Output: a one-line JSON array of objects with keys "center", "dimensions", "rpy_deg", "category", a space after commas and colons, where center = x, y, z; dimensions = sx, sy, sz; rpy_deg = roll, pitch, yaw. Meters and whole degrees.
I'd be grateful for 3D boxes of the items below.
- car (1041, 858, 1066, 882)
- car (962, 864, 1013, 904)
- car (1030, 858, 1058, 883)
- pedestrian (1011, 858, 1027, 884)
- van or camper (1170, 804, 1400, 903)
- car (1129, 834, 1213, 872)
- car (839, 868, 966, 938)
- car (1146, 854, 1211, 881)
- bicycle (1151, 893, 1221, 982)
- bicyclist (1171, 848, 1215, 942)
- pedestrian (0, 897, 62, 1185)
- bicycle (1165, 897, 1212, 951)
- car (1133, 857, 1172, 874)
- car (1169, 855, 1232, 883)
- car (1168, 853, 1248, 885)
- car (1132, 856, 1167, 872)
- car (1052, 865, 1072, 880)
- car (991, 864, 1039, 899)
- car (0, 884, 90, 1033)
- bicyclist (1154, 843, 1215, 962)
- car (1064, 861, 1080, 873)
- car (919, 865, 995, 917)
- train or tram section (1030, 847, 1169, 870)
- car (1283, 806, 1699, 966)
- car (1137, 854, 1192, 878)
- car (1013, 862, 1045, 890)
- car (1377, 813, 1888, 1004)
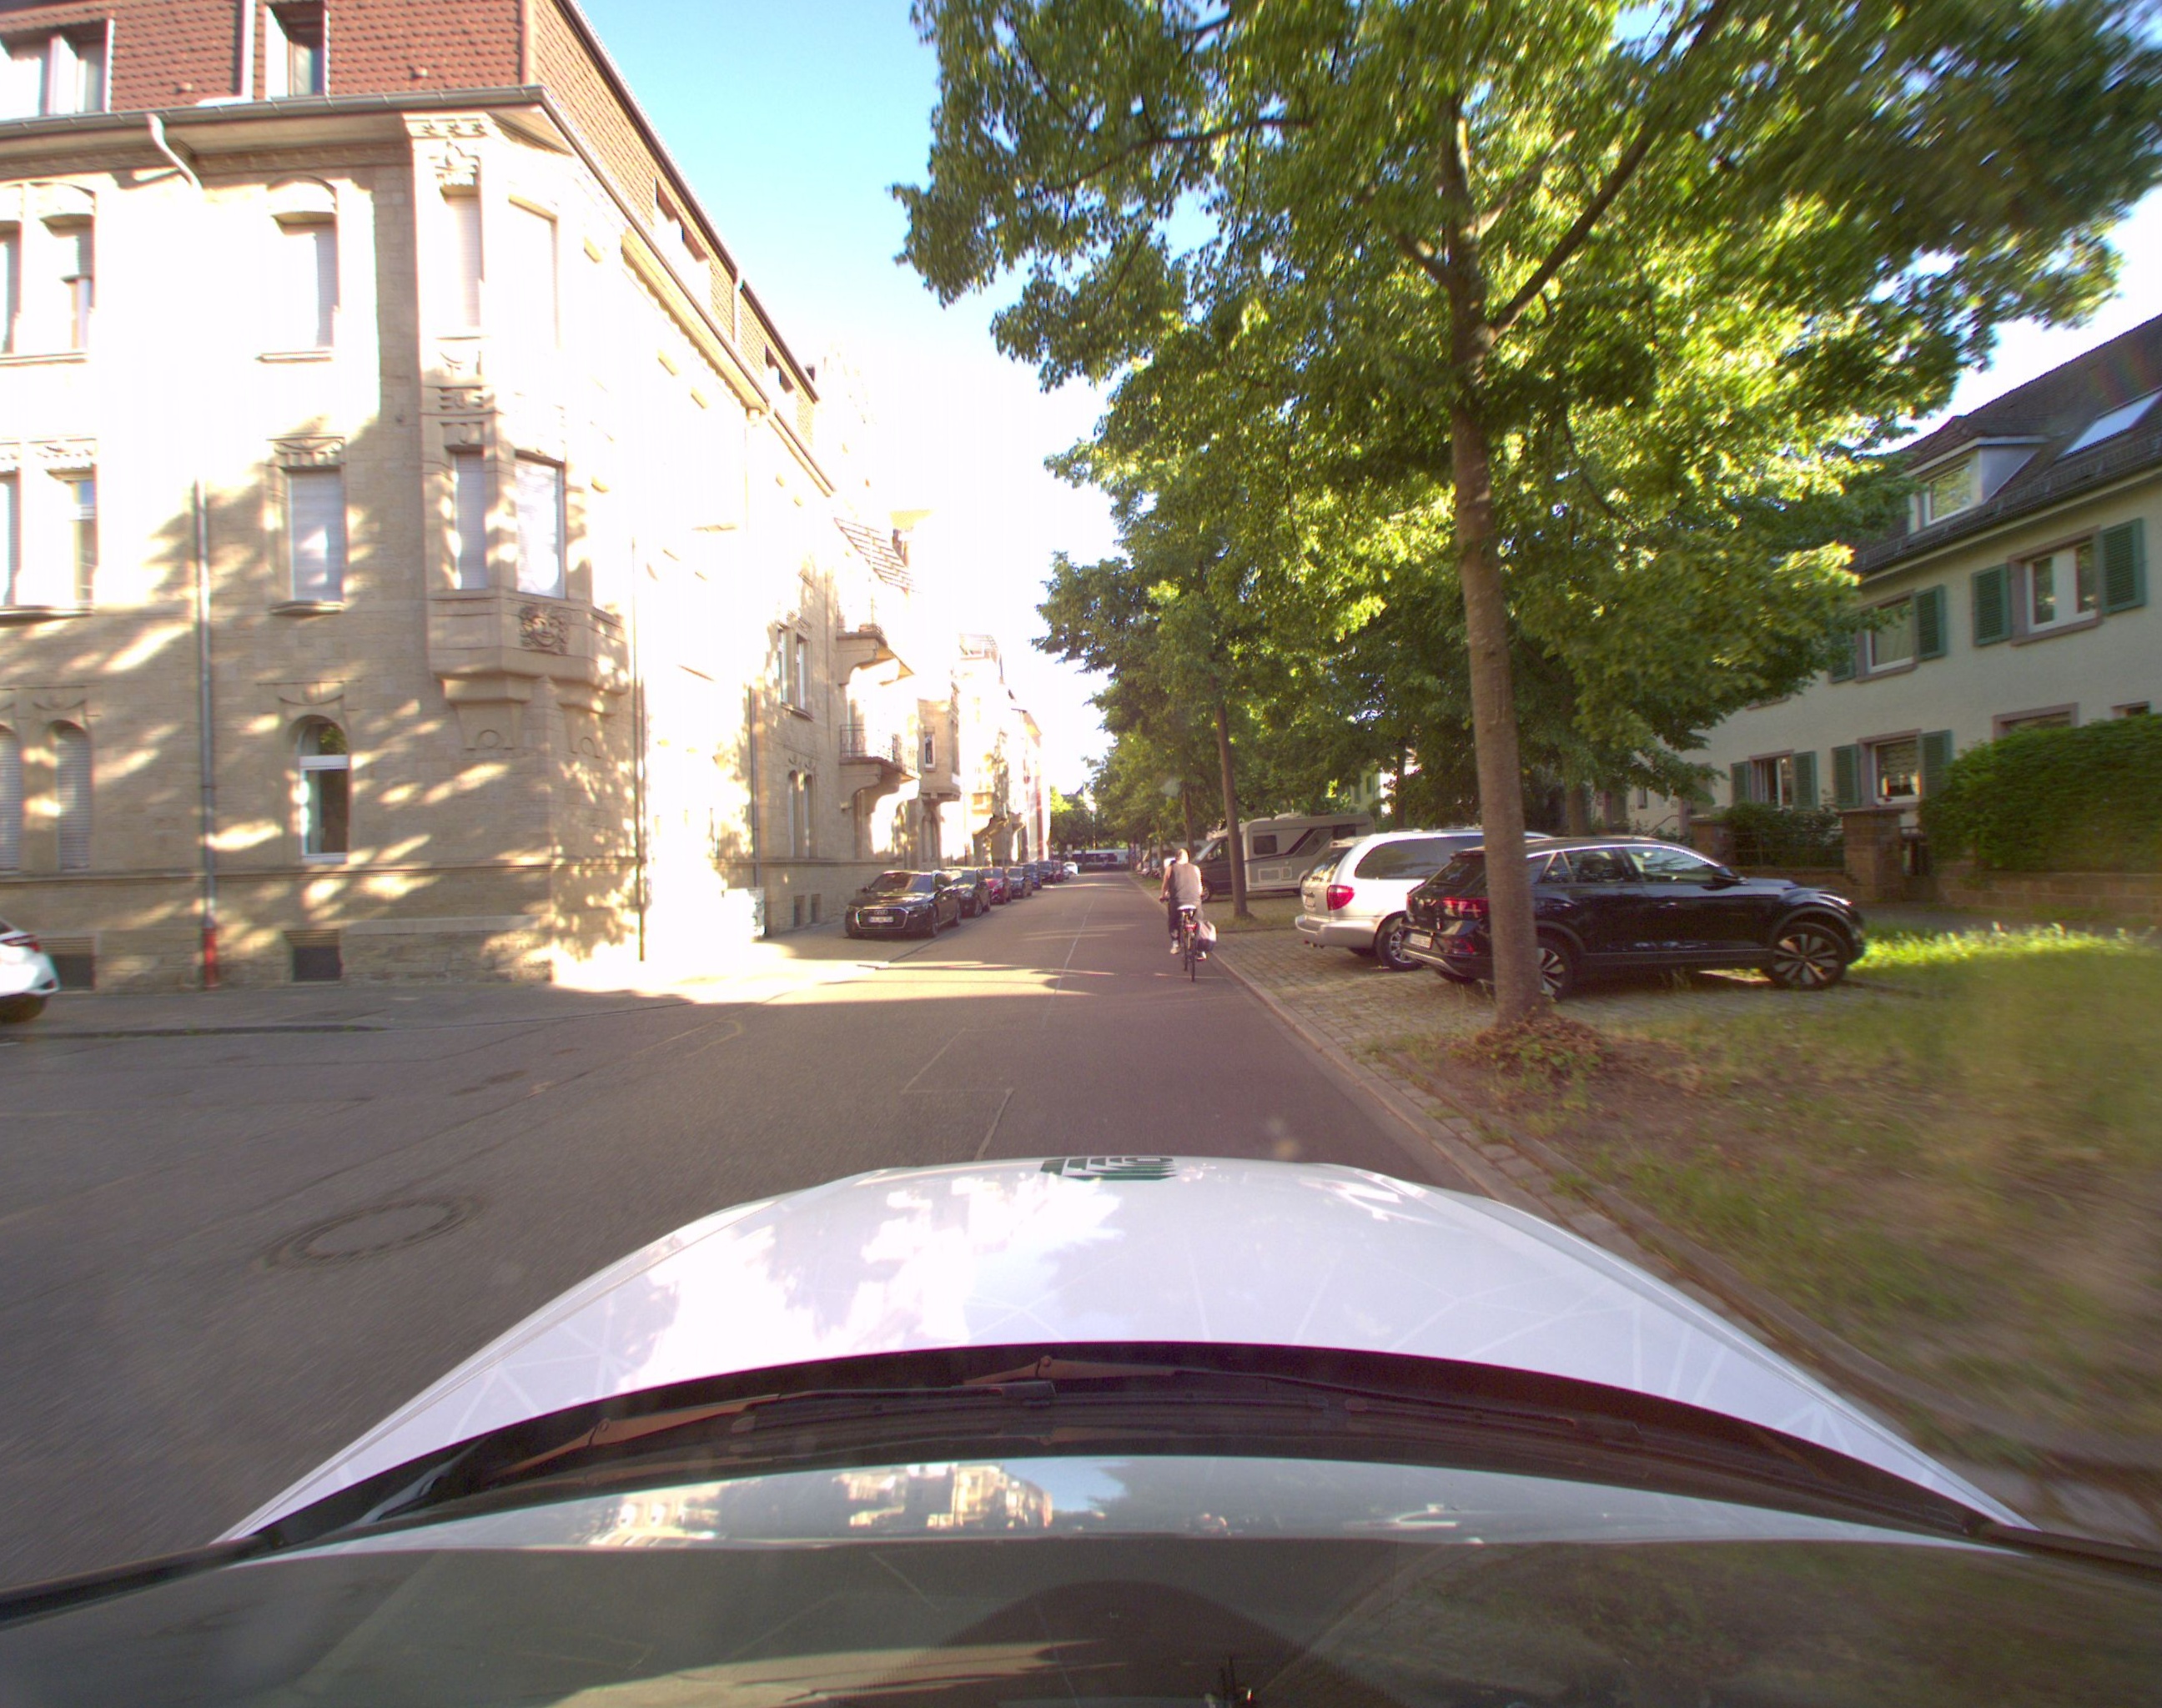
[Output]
[{"center": [-2.236, 1.292, 67.636], "dimensions": [1.682, 1.826, 4.275], "rpy_deg": [1, 0, 3], "category": "car"}, {"center": [-3.664, 1.159, 32.549], "dimensions": [1.624, 1.453, 3.836], "rpy_deg": [0, 0, 0], "category": "car"}, {"center": [-2.732, 1.186, 60.686], "dimensions": [1.634, 1.783, 4.357], "rpy_deg": [1, 0, 3], "category": "car"}, {"center": [-4.114, 1.138, 54.005], "dimensions": [0.934, 1.742, 0.735], "rpy_deg": [0, -1, 2], "category": "pedestrian"}, {"center": [6.734, 0.007, 27.732], "dimensions": [7.116, 2.647, 2.467], "rpy_deg": [-5, -1, 3], "category": "van or camper"}, {"center": [7.966, -0.078, 72.535], "dimensions": [7.126, 2.978, 2.463], "rpy_deg": [-3, -1, -1], "category": "car"}, {"center": [-4.067, 1.064, 19.446], "dimensions": [1.804, 1.427, 4.899], "rpy_deg": [1, -1, 2], "category": "car"}, {"center": [6.440, 0.898, 54.065], "dimensions": [4.121, 1.600, 1.704], "rpy_deg": [-2, -3, 3], "category": "car"}, {"center": [1.390, 1.080, 11.111], "dimensions": [0.735, 1.054, 1.956], "rpy_deg": [0, -1, 1], "category": "bicycle"}, {"center": [2.002, 0.718, 14.642], "dimensions": [0.686, 1.627, 0.999], "rpy_deg": [0, -1, 2], "category": "bicyclist"}, {"center": [-6.456, 1.061, 4.244], "dimensions": [0.884, 1.577, 1.054], "rpy_deg": [-3, 0, 2], "category": "pedestrian"}, {"center": [1.881, 1.218, 14.509], "dimensions": [0.631, 0.799, 1.833], "rpy_deg": [-2, 0, 2], "category": "bicycle"}, {"center": [7.615, 1.236, 86.966], "dimensions": [3.975, 1.804, 1.833], "rpy_deg": [0, -1, -1], "category": "car"}, {"center": [7.561, 0.948, 51.717], "dimensions": [3.757, 1.600, 1.692], "rpy_deg": [-2, -3, 3], "category": "car"}, {"center": [7.025, 0.860, 45.241], "dimensions": [4.205, 1.600, 1.692], "rpy_deg": [-2, -3, 3], "category": "car"}, {"center": [7.964, 1.198, 94.851], "dimensions": [3.975, 1.804, 1.833], "rpy_deg": [0, -1, -1], "category": "car"}, {"center": [-1.787, 1.796, 78.504], "dimensions": [1.577, 1.343, 4.134], "rpy_deg": [1, 0, 3], "category": "car"}, {"center": [-3.033, 1.240, 38.198], "dimensions": [1.669, 1.430, 4.553], "rpy_deg": [1, 0, 3], "category": "car"}, {"center": [-13.578, 1.217, 8.667], "dimensions": [3.784, 1.550, 1.718], "rpy_deg": [-2, 2, -1], "category": "car"}, {"center": [1.396, 0.646, 11.119], "dimensions": [0.727, 1.548, 0.884], "rpy_deg": [0, -2, 1], "category": "bicyclist"}, {"center": [-1.028, 1.541, 95.969], "dimensions": [1.577, 1.375, 4.134], "rpy_deg": [1, 0, 3], "category": "car"}, {"center": [-3.751, 1.090, 25.288], "dimensions": [1.690, 1.453, 4.027], "rpy_deg": [-1, -1, 0], "category": "car"}, {"center": [3.310, 0.853, 138.510], "dimensions": [23.889, 3.709, 4.256], "rpy_deg": [0, -1, -21], "category": "train or tram section"}, {"center": [5.273, 0.410, 10.992], "dimensions": [4.600, 1.709, 1.835], "rpy_deg": [-4, -1, 3], "category": "car"}, {"center": [6.656, 0.966, 65.219], "dimensions": [4.070, 1.650, 1.640], "rpy_deg": [-5, -1, -1], "category": "car"}, {"center": [-3.020, 1.255, 47.674], "dimensions": [1.590, 1.489, 2.736], "rpy_deg": [2, 0, 0], "category": "car"}, {"center": [5.443, 0.511, 8.465], "dimensions": [4.051, 1.476, 1.695], "rpy_deg": [-5, 0, 2], "category": "car"}]
